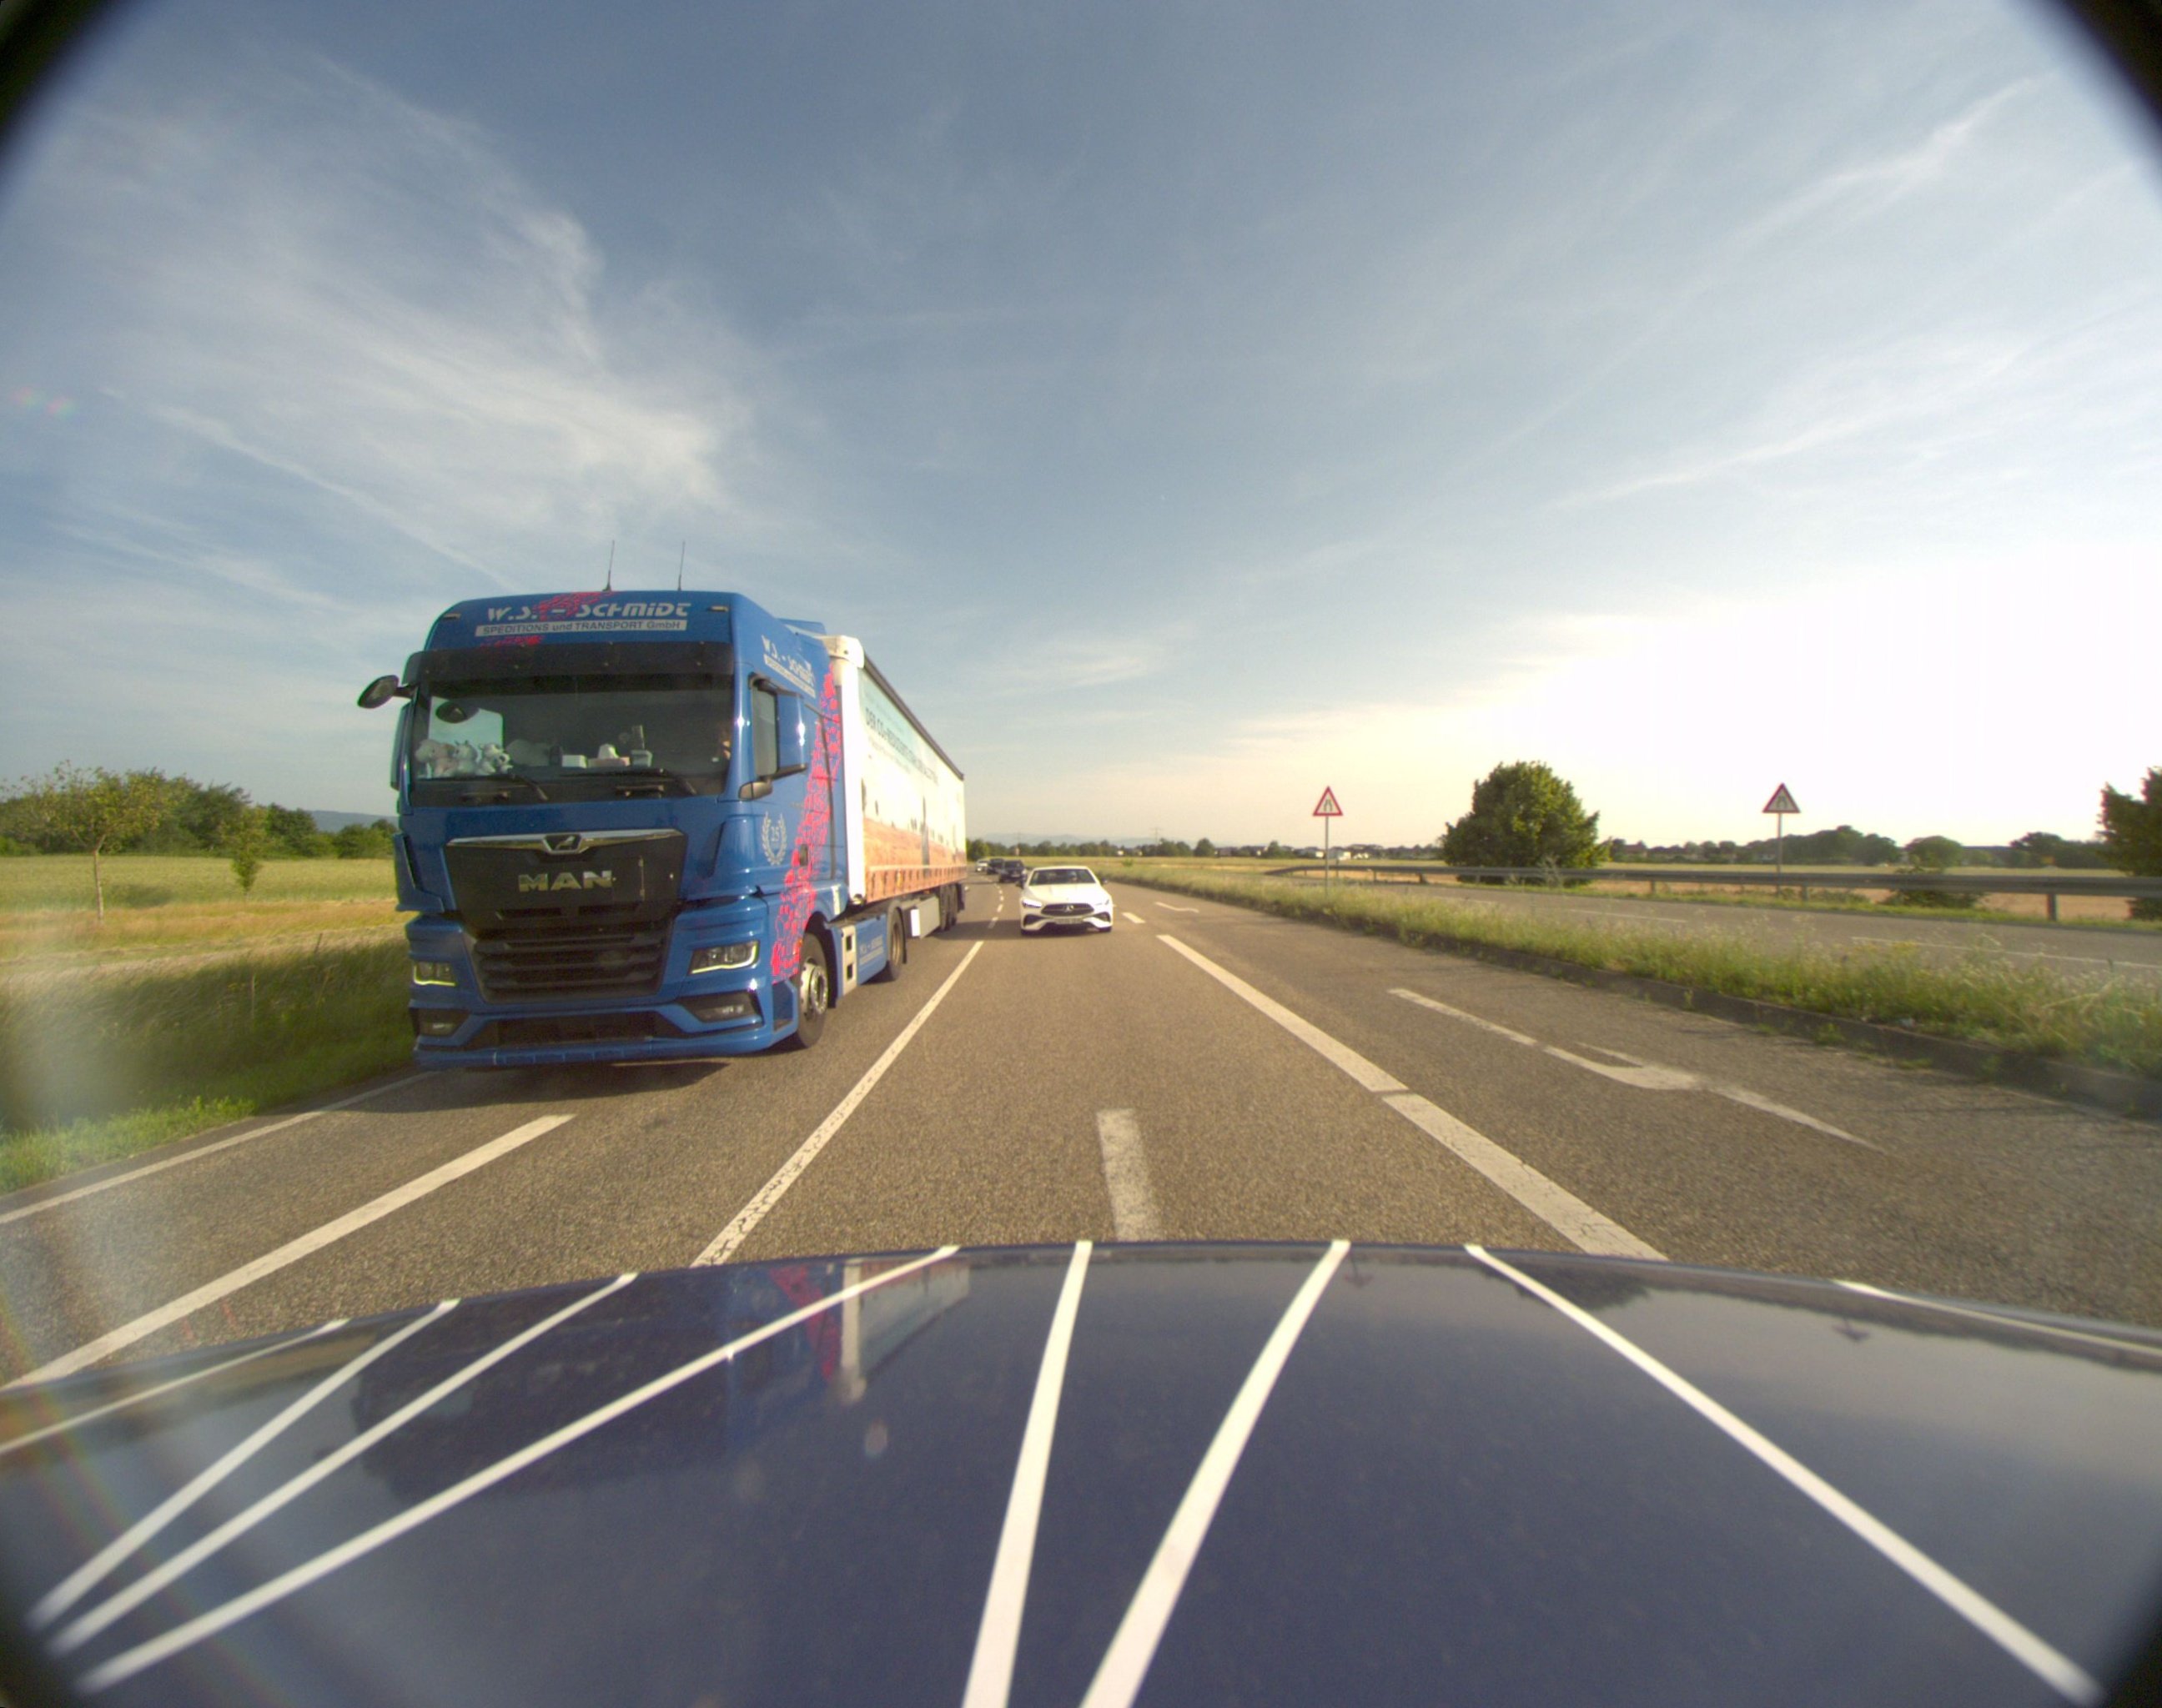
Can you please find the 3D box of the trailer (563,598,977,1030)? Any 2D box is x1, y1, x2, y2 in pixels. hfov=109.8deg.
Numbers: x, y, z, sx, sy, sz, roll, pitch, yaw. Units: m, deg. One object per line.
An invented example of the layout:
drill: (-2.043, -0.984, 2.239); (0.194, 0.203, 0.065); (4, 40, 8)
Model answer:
trailer: (-4.271, -0.509, 14.902); (3.290, 4.654, 13.141); (-2, 1, -3)

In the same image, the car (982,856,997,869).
car: (-10.473, 1.000, 86.853); (1.558, 1.392, 4.032); (-1, 0, -8)

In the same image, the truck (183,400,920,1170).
truck: (-3.795, -0.464, 7.534); (3.309, 4.631, 5.729); (-2, 1, -3)

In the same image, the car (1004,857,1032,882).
car: (-4.167, 0.981, 49.575); (1.585, 1.496, 3.658); (-1, 0, -8)

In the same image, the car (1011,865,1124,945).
car: (-0.429, 0.986, 16.443); (1.942, 1.389, 3.915); (-2, 0, -8)

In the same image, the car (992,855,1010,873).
car: (-7.533, 0.926, 71.829); (1.558, 1.550, 3.047); (-1, 0, -8)
